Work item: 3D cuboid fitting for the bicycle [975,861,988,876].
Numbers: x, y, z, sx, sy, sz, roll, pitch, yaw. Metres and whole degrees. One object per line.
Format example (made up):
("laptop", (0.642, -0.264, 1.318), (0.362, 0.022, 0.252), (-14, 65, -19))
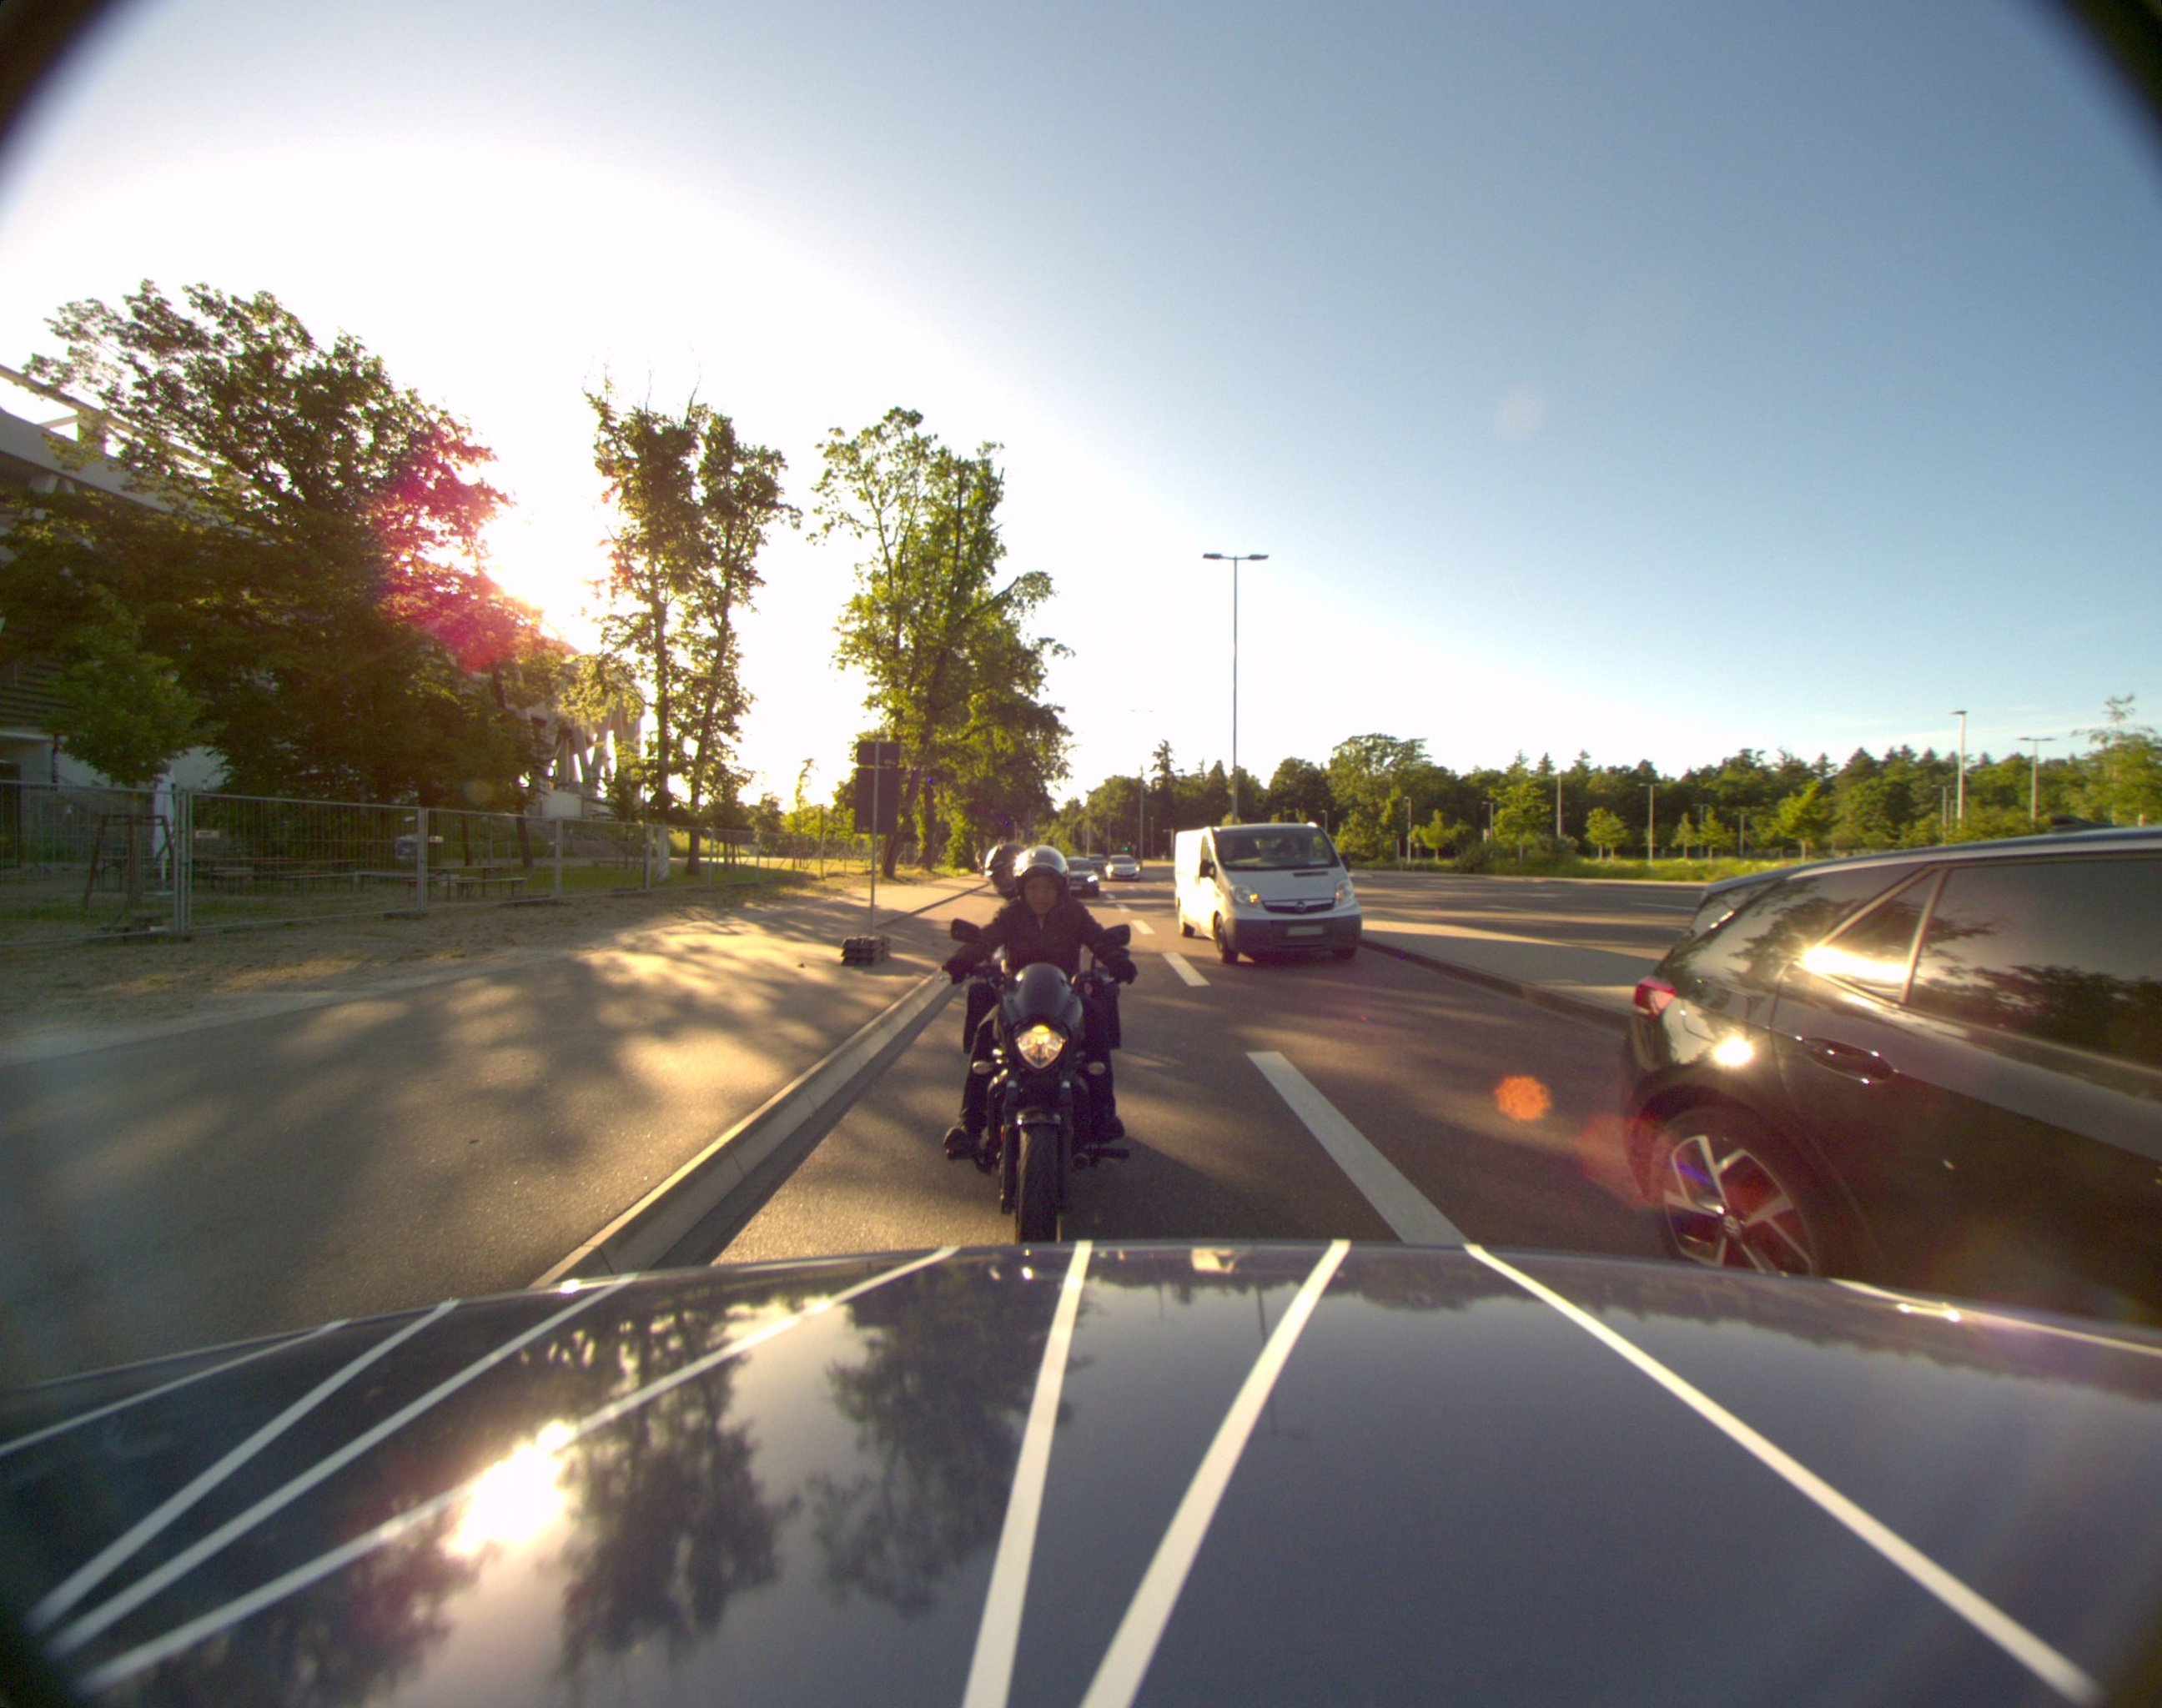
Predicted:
("bicycle", (-5.836, 0.860, 44.755), (0.481, 0.854, 1.910), (0, 0, 1))

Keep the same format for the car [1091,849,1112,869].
("car", (1.753, 0.403, 65.676), (1.638, 1.674, 4.000), (-2, 1, 1))

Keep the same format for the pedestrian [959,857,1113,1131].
("pedestrian", (-0.228, 0.730, 4.181), (0.739, 1.387, 0.500), (-2, 1, 1))

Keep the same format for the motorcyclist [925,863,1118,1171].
("motorcyclist", (-0.265, 0.749, 3.692), (0.822, 1.367, 0.476), (-2, 1, 1))

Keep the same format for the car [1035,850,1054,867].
("car", (-4.071, 0.477, 85.791), (1.774, 1.849, 3.999), (-2, 1, 1))

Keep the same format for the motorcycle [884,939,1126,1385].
("motorcycle", (-0.219, 1.118, 3.736), (0.717, 1.058, 2.721), (-2, 0, 1))

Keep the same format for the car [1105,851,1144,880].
("car", (2.414, 0.644, 43.670), (1.883, 1.514, 5.048), (-2, 0, 0))

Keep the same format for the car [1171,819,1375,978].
("car", (2.728, 0.573, 12.132), (1.883, 1.951, 5.048), (-2, 0, 0))

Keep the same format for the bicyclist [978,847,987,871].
("bicyclist", (-5.830, 0.266, 44.898), (0.451, 1.412, 0.575), (0, 1, 0))

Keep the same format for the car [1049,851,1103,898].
("car", (-0.181, 0.742, 30.037), (1.883, 1.629, 5.048), (-2, 0, 0))

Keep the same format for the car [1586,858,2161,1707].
("car", (2.743, 0.836, 0.680), (1.883, 1.528, 3.999), (-2, 1, 0))
